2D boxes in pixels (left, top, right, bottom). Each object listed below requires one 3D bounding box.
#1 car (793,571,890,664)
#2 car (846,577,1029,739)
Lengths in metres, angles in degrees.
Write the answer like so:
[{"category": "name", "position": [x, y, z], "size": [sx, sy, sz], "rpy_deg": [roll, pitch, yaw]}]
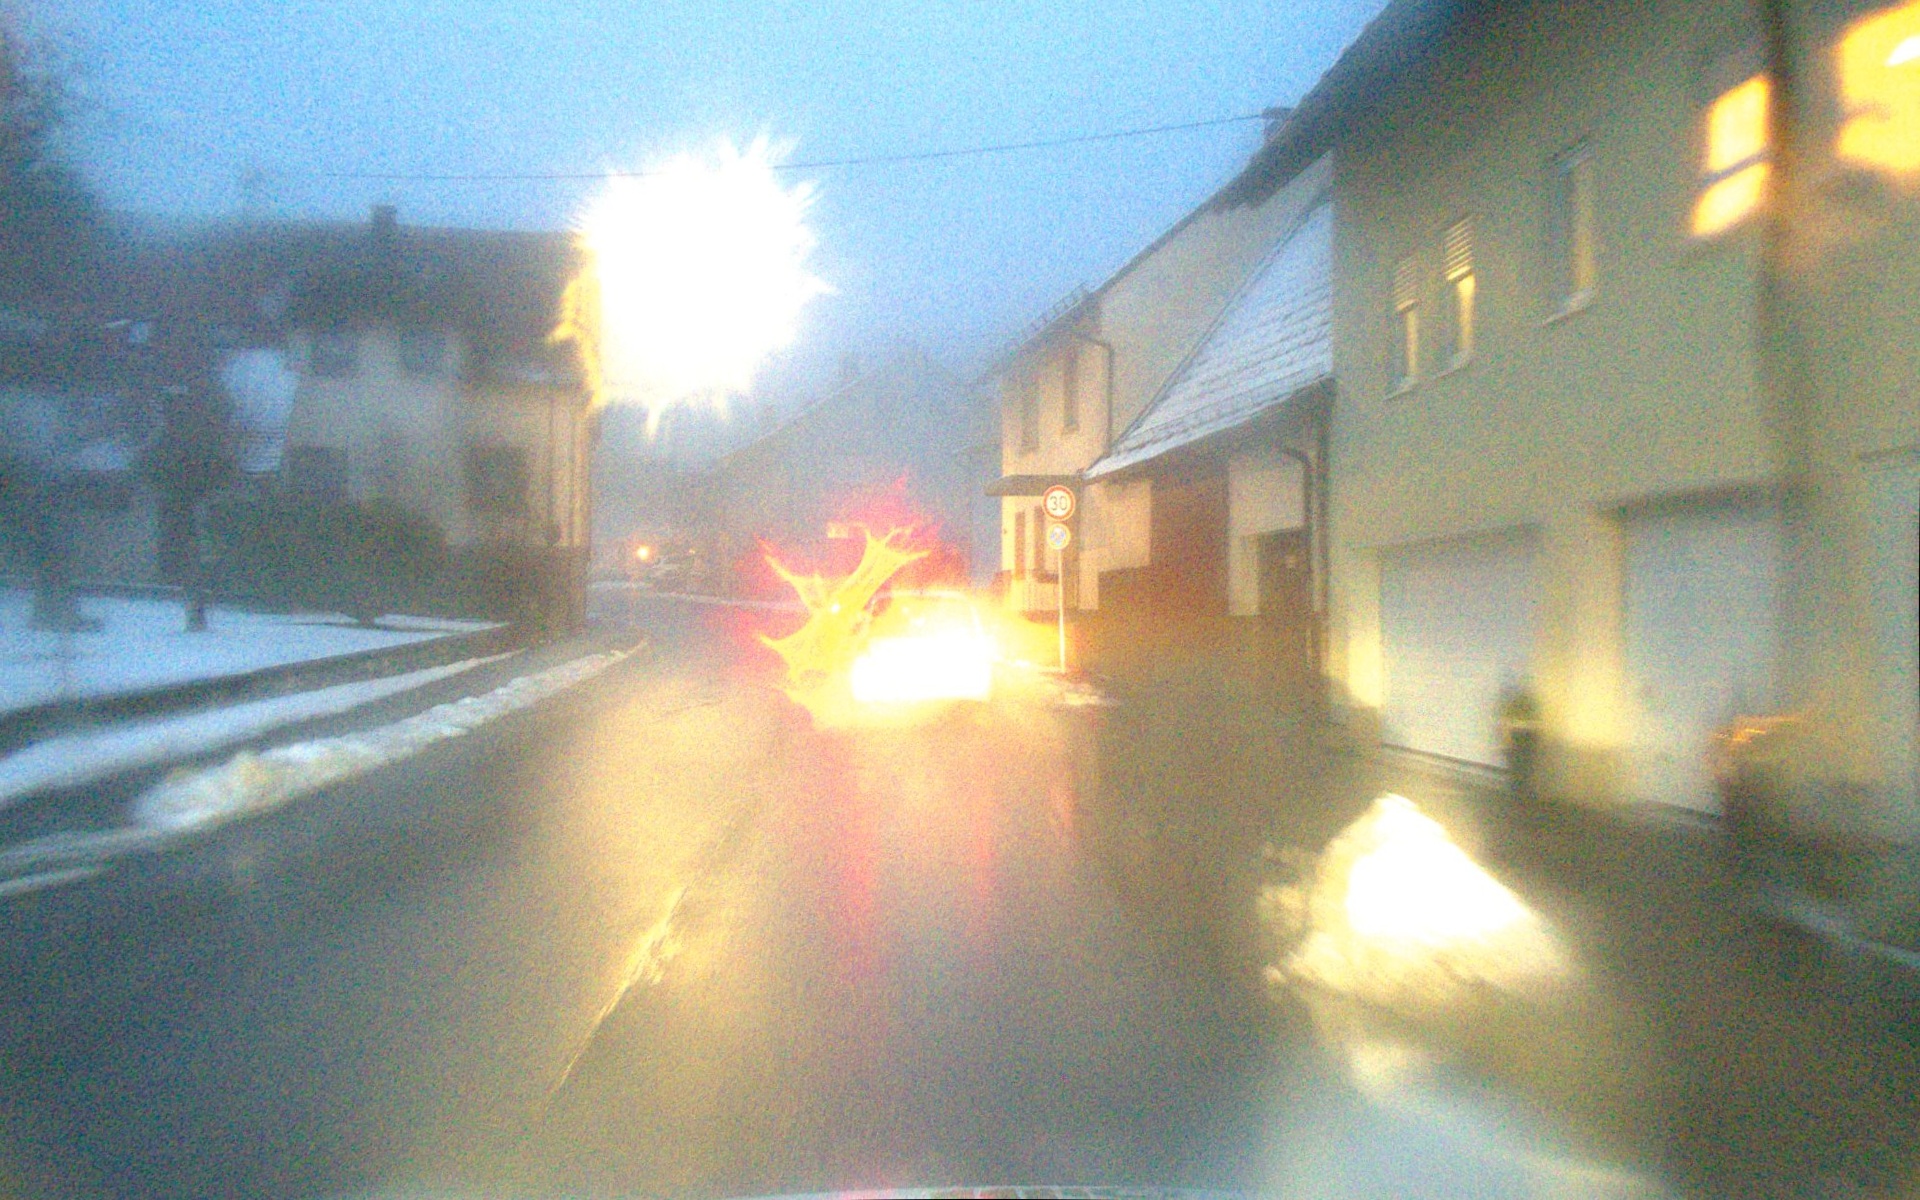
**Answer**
[{"category": "car", "position": [-2.316, 0.340, 31.622], "size": [1.614, 1.624, 3.693], "rpy_deg": [2, -1, -7]}, {"category": "car", "position": [-0.350, 0.632, 18.972], "size": [1.614, 1.624, 3.692], "rpy_deg": [2, -1, -8]}]
